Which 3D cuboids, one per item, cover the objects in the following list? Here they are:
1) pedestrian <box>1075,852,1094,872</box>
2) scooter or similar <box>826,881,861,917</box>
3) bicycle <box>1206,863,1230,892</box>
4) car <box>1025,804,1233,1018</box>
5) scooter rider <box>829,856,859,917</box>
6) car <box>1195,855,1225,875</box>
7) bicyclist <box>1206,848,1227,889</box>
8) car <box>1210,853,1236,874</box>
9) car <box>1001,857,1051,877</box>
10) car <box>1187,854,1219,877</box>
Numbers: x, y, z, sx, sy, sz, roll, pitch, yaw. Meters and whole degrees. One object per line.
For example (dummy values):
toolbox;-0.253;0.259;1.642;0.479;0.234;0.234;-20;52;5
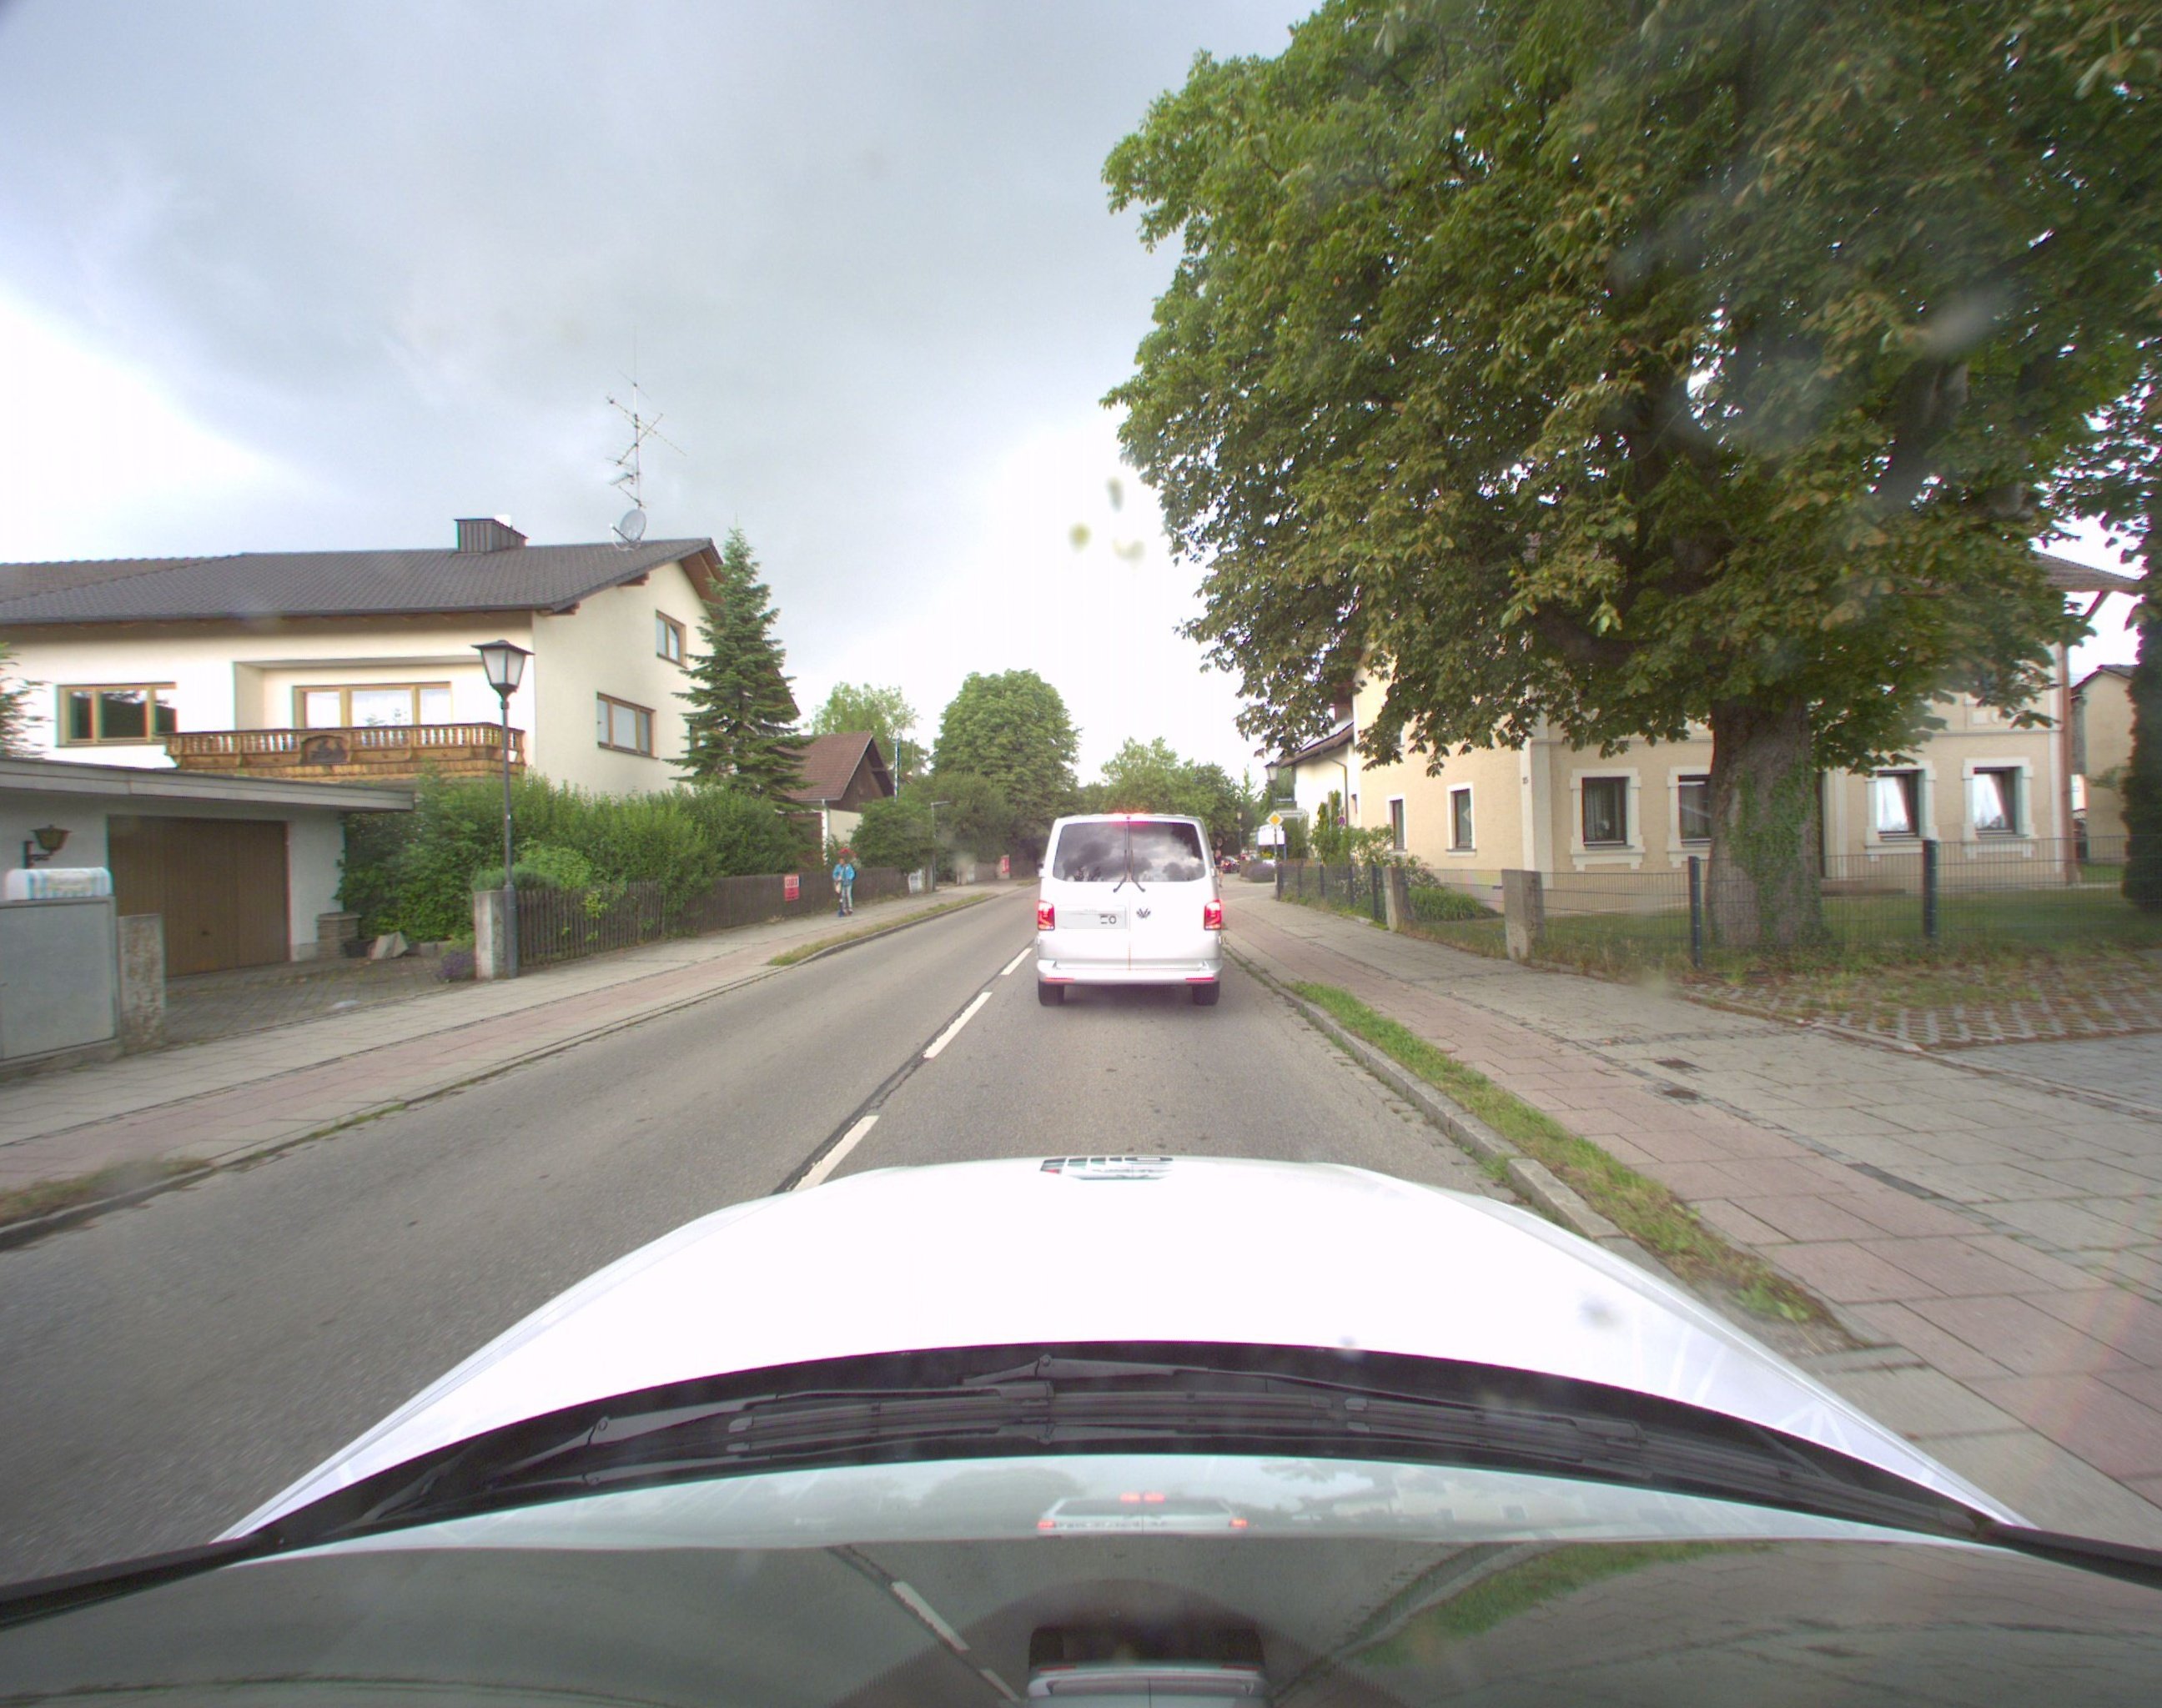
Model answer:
pedestrian;0.340;0.703;74.509;1.329;1.803;1.057;-1;-1;-36
scooter or similar;-5.951;1.115;20.475;0.519;0.850;1.062;-1;0;3
bicycle;5.589;0.949;33.367;0.761;1.143;1.847;-1;0;4
car;0.545;0.535;9.482;1.873;1.940;3.923;-1;0;3
scooter rider;-5.960;0.801;20.485;0.500;1.489;0.716;-1;0;2
car;10.325;0.840;64.941;1.867;1.535;3.937;-1;0;16
bicyclist;5.562;0.582;33.347;0.733;1.633;0.891;-1;0;3
car;12.577;0.785;72.033;1.867;1.748;4.096;-1;0;15
car;-4.577;1.064;67.365;3.982;1.486;1.996;-1;0;-6
car;8.918;0.816;59.228;1.868;1.535;3.935;-1;0;14
